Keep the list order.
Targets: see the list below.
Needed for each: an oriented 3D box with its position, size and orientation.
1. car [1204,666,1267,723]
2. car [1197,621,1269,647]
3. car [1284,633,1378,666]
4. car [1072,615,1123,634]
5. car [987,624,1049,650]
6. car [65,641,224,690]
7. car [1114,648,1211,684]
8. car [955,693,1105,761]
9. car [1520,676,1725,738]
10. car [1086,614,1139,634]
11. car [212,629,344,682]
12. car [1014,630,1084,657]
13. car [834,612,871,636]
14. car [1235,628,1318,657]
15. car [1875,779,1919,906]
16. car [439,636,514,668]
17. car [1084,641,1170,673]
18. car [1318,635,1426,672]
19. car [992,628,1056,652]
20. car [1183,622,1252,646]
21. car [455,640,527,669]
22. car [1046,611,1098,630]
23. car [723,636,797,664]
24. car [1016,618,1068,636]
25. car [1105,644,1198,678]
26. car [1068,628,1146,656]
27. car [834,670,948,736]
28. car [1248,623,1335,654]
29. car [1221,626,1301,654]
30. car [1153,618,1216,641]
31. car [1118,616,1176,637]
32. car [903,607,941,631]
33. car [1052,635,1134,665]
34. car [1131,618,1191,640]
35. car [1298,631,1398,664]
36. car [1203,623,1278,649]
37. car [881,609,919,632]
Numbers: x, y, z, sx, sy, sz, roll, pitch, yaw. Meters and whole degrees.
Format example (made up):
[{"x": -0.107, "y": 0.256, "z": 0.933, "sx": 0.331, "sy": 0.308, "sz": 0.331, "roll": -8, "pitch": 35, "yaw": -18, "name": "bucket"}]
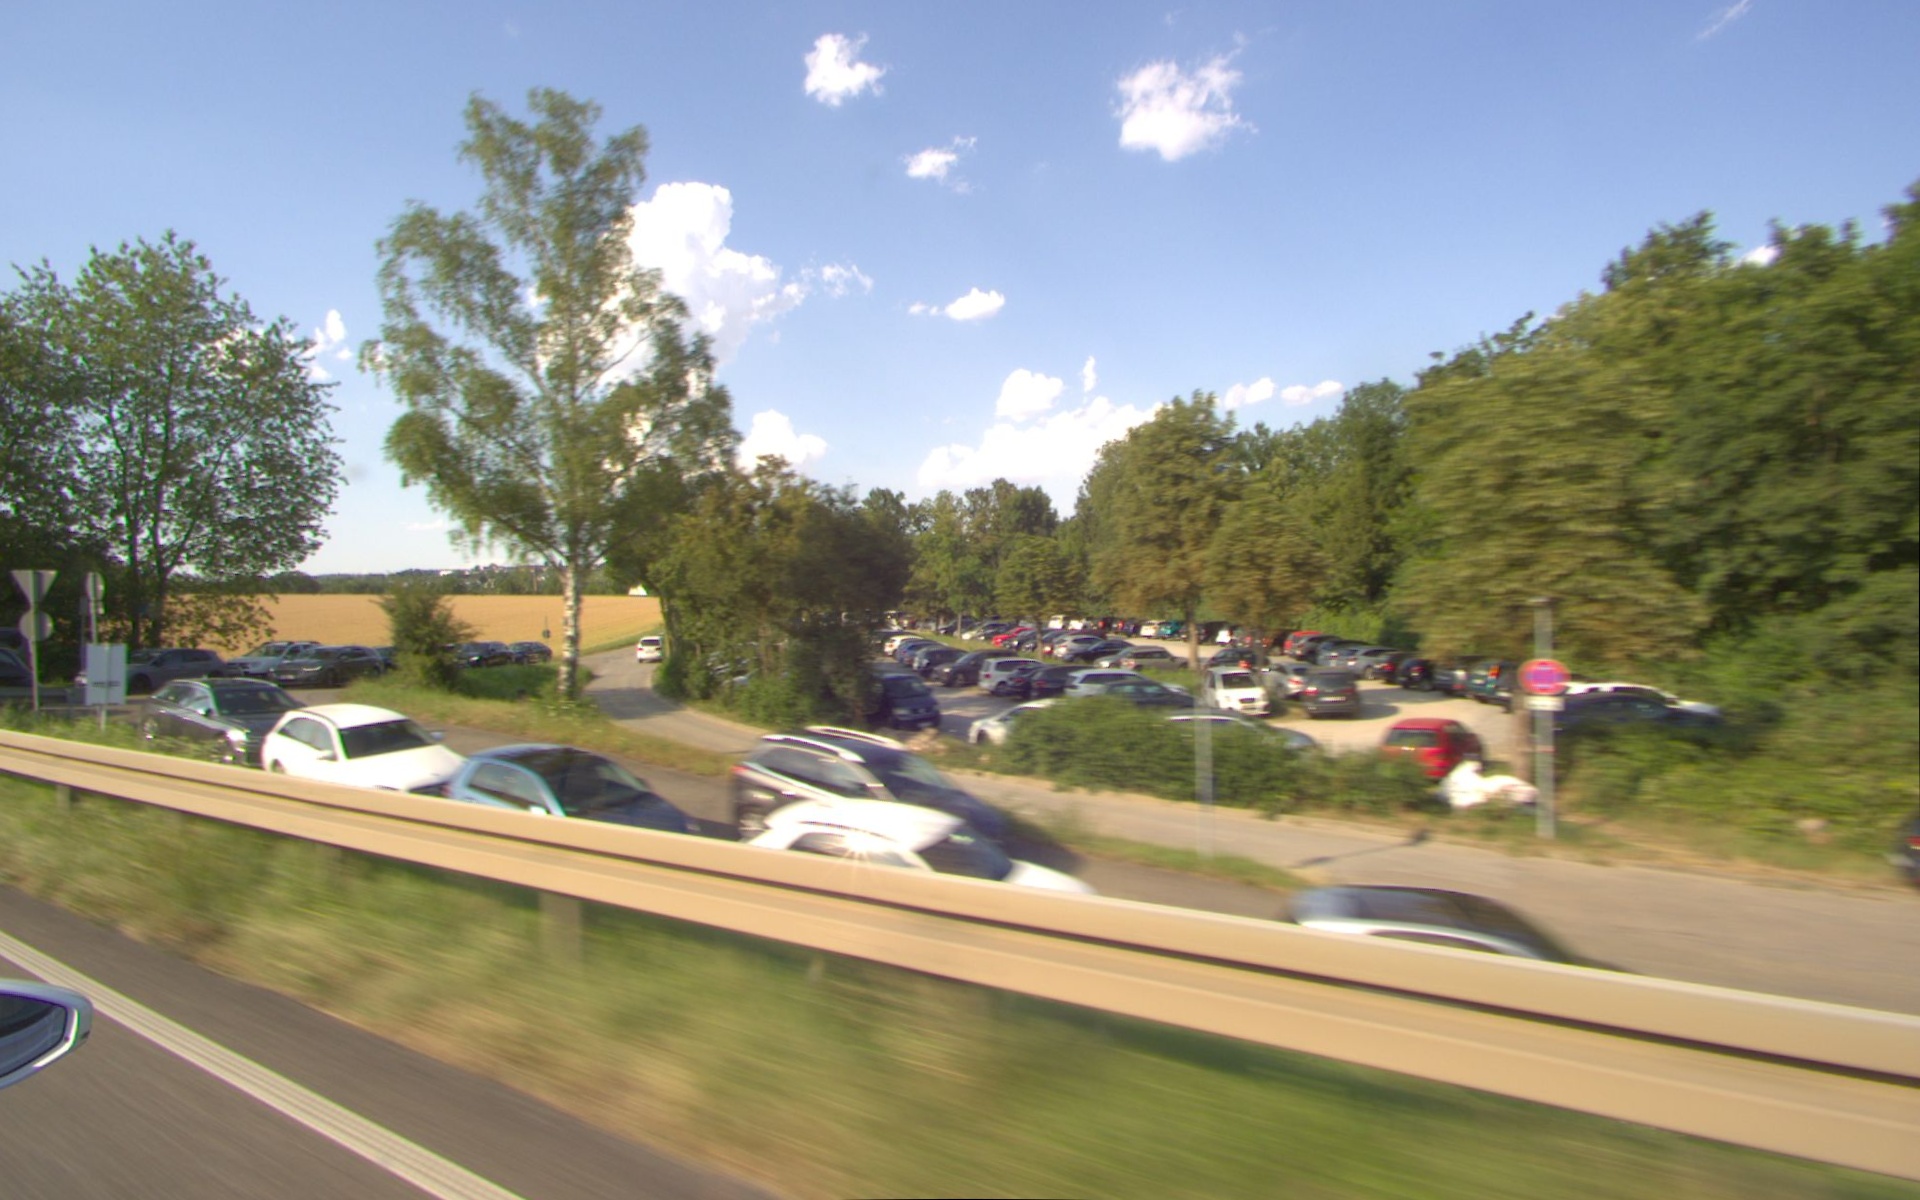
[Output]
[{"x": 9.660, "y": 3.279, "z": 35.388, "sx": 1.622, "sy": 1.692, "sz": 4.150, "roll": 0, "pitch": -1, "yaw": 8, "name": "car"}, {"x": 18.679, "y": 2.317, "z": 68.713, "sx": 4.507, "sy": 1.713, "sz": 1.804, "roll": 0, "pitch": -1, "yaw": 5, "name": "car"}, {"x": 20.274, "y": 2.711, "z": 54.880, "sx": 4.507, "sy": 1.713, "sz": 1.804, "roll": 0, "pitch": -1, "yaw": 5, "name": "car"}, {"x": 12.408, "y": 2.219, "z": 90.534, "sx": 4.507, "sy": 1.713, "sz": 1.804, "roll": 0, "pitch": -1, "yaw": 5, "name": "car"}, {"x": 4.405, "y": 2.809, "z": 76.906, "sx": 4.508, "sy": 1.916, "sz": 1.803, "roll": 0, "pitch": 0, "yaw": -6, "name": "car"}, {"x": -26.057, "y": 2.072, "z": 32.158, "sx": 1.776, "sy": 1.459, "sz": 3.732, "roll": 0, "pitch": -3, "yaw": 8, "name": "car"}, {"x": 10.244, "y": 3.331, "z": 50.763, "sx": 4.508, "sy": 1.713, "sz": 1.803, "roll": 0, "pitch": -1, "yaw": -6, "name": "car"}, {"x": 1.979, "y": 3.651, "z": 29.280, "sx": 4.242, "sy": 1.505, "sz": 1.681, "roll": 0, "pitch": 0, "yaw": 41, "name": "car"}, {"x": 19.494, "y": 3.135, "z": 29.660, "sx": 4.689, "sy": 1.580, "sz": 1.897, "roll": 0, "pitch": 0, "yaw": 6, "name": "car"}, {"x": 13.418, "y": 2.106, "z": 88.339, "sx": 4.507, "sy": 1.713, "sz": 1.804, "roll": 0, "pitch": -1, "yaw": 5, "name": "car"}, {"x": -25.480, "y": 2.027, "z": 37.618, "sx": 1.776, "sy": 1.771, "sz": 4.216, "roll": 0, "pitch": 0, "yaw": 7, "name": "car"}, {"x": 6.028, "y": 2.928, "z": 67.960, "sx": 4.508, "sy": 1.713, "sz": 1.803, "roll": 0, "pitch": -1, "yaw": -6, "name": "car"}, {"x": -11.515, "y": 2.554, "z": 107.921, "sx": 2.454, "sy": 2.339, "sz": 6.075, "roll": -2, "pitch": 0, "yaw": 9, "name": "car"}, {"x": 19.263, "y": 2.560, "z": 61.088, "sx": 4.507, "sy": 1.713, "sz": 1.804, "roll": 0, "pitch": -1, "yaw": 5, "name": "car"}, {"x": 15.089, "y": 3.518, "z": 13.372, "sx": 4.048, "sy": 1.418, "sz": 1.693, "roll": 2, "pitch": 4, "yaw": 38, "name": "car"}, {"x": -22.993, "y": 2.460, "z": 47.786, "sx": 1.776, "sy": 1.459, "sz": 3.935, "roll": 1, "pitch": -3, "yaw": -2, "name": "car"}, {"x": 9.414, "y": 3.204, "z": 56.666, "sx": 4.508, "sy": 1.713, "sz": 1.803, "roll": 0, "pitch": -1, "yaw": -6, "name": "car"}, {"x": 19.906, "y": 2.559, "z": 48.489, "sx": 4.507, "sy": 1.713, "sz": 1.804, "roll": 0, "pitch": -1, "yaw": 5, "name": "car"}, {"x": 4.689, "y": 2.913, "z": 74.123, "sx": 4.508, "sy": 1.713, "sz": 1.803, "roll": 0, "pitch": -1, "yaw": -6, "name": "car"}, {"x": 18.180, "y": 2.393, "z": 70.885, "sx": 4.507, "sy": 1.713, "sz": 1.804, "roll": 0, "pitch": -1, "yaw": 5, "name": "car"}, {"x": -26.255, "y": 3.035, "z": 56.264, "sx": 1.961, "sy": 1.526, "sz": 4.645, "roll": 0, "pitch": -2, "yaw": -2, "name": "car"}, {"x": 10.486, "y": 1.932, "z": 93.509, "sx": 4.513, "sy": 1.713, "sz": 1.801, "roll": 0, "pitch": -1, "yaw": -14, "name": "car"}, {"x": -12.702, "y": 3.147, "z": 63.489, "sx": 4.512, "sy": 1.713, "sz": 1.802, "roll": 0, "pitch": -1, "yaw": -13, "name": "car"}, {"x": 7.759, "y": 2.524, "z": 94.804, "sx": 4.512, "sy": 1.713, "sz": 1.802, "roll": 0, "pitch": -1, "yaw": -13, "name": "car"}, {"x": 10.132, "y": 3.204, "z": 53.153, "sx": 4.508, "sy": 1.713, "sz": 1.803, "roll": 0, "pitch": -1, "yaw": -6, "name": "car"}, {"x": 9.177, "y": 2.618, "z": 62.555, "sx": 4.508, "sy": 1.713, "sz": 1.803, "roll": 0, "pitch": -1, "yaw": -6, "name": "car"}, {"x": -2.438, "y": 3.456, "z": 34.425, "sx": 1.781, "sy": 1.866, "sz": 4.564, "roll": 0, "pitch": -1, "yaw": -36, "name": "car"}, {"x": 19.225, "y": 2.232, "z": 58.197, "sx": 4.507, "sy": 1.713, "sz": 1.804, "roll": 0, "pitch": -1, "yaw": 5, "name": "car"}, {"x": 18.888, "y": 2.504, "z": 62.970, "sx": 4.507, "sy": 1.713, "sz": 1.804, "roll": 0, "pitch": -1, "yaw": 5, "name": "car"}, {"x": 17.203, "y": 2.264, "z": 76.779, "sx": 4.507, "sy": 1.713, "sz": 1.804, "roll": 0, "pitch": -1, "yaw": 5, "name": "car"}, {"x": 15.367, "y": 2.155, "z": 82.286, "sx": 4.507, "sy": 1.713, "sz": 1.804, "roll": 0, "pitch": -1, "yaw": 5, "name": "car"}, {"x": -3.909, "y": 1.942, "z": 103.730, "sx": 2.317, "sy": 2.272, "sz": 5.662, "roll": -2, "pitch": 0, "yaw": 15, "name": "car"}, {"x": 7.865, "y": 2.951, "z": 59.264, "sx": 4.508, "sy": 1.713, "sz": 1.803, "roll": 0, "pitch": -1, "yaw": -6, "name": "car"}, {"x": 15.992, "y": 2.308, "z": 79.861, "sx": 4.507, "sy": 1.713, "sz": 1.804, "roll": 0, "pitch": -1, "yaw": 5, "name": "car"}, {"x": 20.284, "y": 2.476, "z": 52.483, "sx": 4.507, "sy": 1.713, "sz": 1.804, "roll": 0, "pitch": -1, "yaw": 5, "name": "car"}, {"x": 18.642, "y": 2.400, "z": 66.701, "sx": 4.507, "sy": 1.713, "sz": 1.804, "roll": 0, "pitch": -1, "yaw": 5, "name": "car"}, {"x": -6.340, "y": 2.155, "z": 105.810, "sx": 2.290, "sy": 2.272, "sz": 5.662, "roll": -2, "pitch": 0, "yaw": 15, "name": "car"}]
